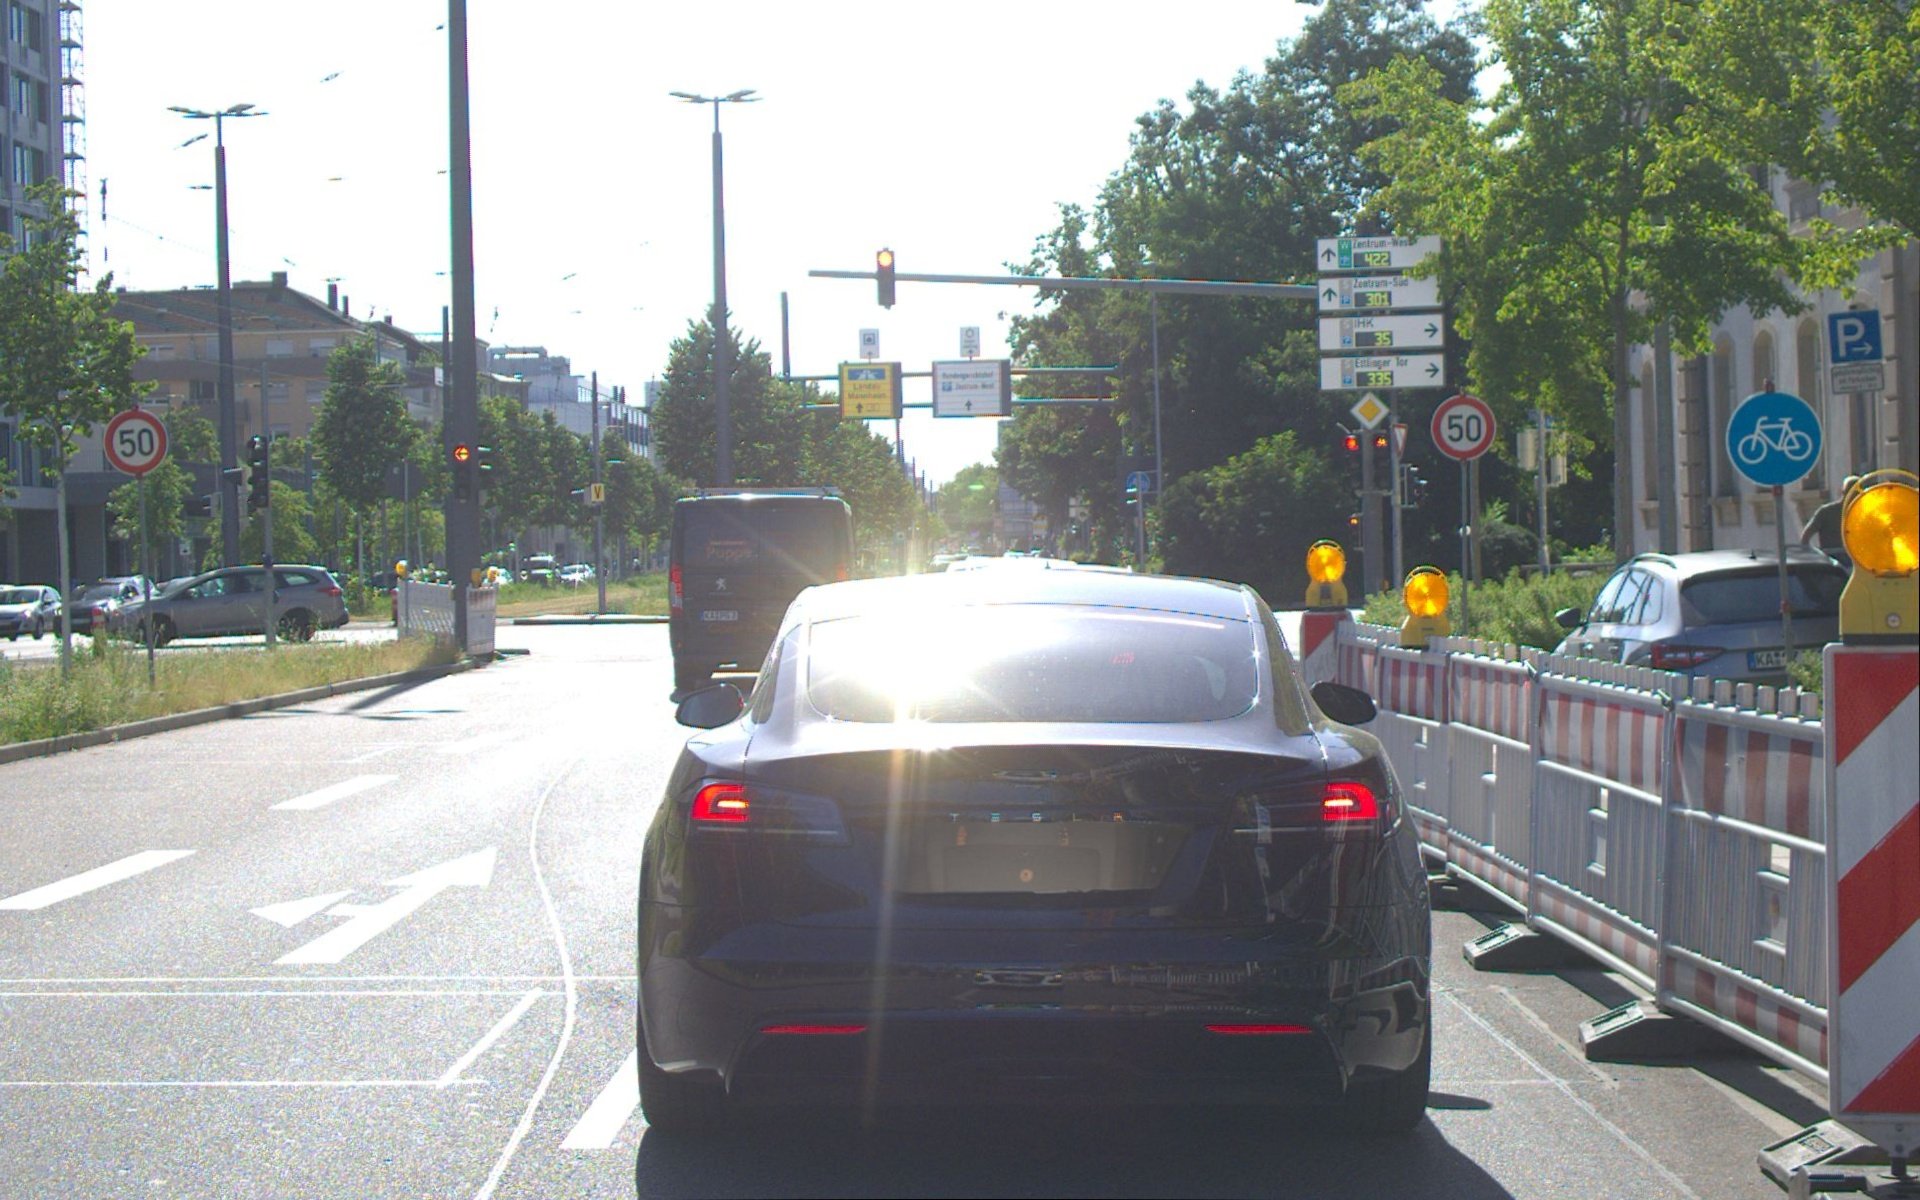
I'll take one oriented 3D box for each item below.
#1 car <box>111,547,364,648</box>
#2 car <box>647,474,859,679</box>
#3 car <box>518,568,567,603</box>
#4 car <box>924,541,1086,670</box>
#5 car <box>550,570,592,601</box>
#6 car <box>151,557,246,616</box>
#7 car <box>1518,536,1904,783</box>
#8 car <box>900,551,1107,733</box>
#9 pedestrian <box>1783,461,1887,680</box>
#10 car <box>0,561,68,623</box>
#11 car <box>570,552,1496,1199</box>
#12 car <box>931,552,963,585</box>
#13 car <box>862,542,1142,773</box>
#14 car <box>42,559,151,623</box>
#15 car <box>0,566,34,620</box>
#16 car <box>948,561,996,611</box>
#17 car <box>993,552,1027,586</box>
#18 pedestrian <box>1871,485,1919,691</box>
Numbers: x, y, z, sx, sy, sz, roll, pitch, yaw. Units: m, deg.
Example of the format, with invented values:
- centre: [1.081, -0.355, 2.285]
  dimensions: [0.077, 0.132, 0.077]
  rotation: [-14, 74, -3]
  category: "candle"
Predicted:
- centre: [-13.790, -0.066, 65.570]
  dimensions: [4.511, 1.786, 2.001]
  rotation: [-2, 1, -17]
  category: "car"
- centre: [-2.345, -0.313, 40.142]
  dimensions: [2.218, 2.259, 4.484]
  rotation: [0, 1, 0]
  category: "car"
- centre: [-20.599, -0.721, 169.706]
  dimensions: [1.808, 1.645, 4.000]
  rotation: [-1, 1, 1]
  category: "car"
- centre: [0.479, 0.047, 39.956]
  dimensions: [1.792, 1.423, 3.850]
  rotation: [0, 1, -1]
  category: "car"
- centre: [-21.629, -0.836, 191.215]
  dimensions: [1.790, 1.645, 4.000]
  rotation: [-1, 1, 1]
  category: "car"
- centre: [-22.292, -0.418, 100.754]
  dimensions: [1.790, 1.645, 4.000]
  rotation: [-1, 1, 1]
  category: "car"
- centre: [5.165, 0.335, 24.252]
  dimensions: [1.647, 1.470, 4.701]
  rotation: [-4, 1, 1]
  category: "car"
- centre: [0.419, 0.328, 31.069]
  dimensions: [1.750, 1.522, 4.005]
  rotation: [0, 1, 2]
  category: "car"
- centre: [7.851, -0.267, 30.865]
  dimensions: [0.658, 1.906, 0.587]
  rotation: [-4, 1, 1]
  category: "pedestrian"
- centre: [-26.087, -0.219, 94.834]
  dimensions: [1.790, 1.645, 4.000]
  rotation: [-1, 1, 1]
  category: "car"
- centre: [0.181, 0.601, 9.908]
  dimensions: [2.051, 1.439, 4.524]
  rotation: [0, 1, 1]
  category: "car"
- centre: [-0.771, -1.817, 196.660]
  dimensions: [1.792, 1.867, 3.850]
  rotation: [0, 1, -1]
  category: "car"
- centre: [0.286, 0.319, 23.983]
  dimensions: [1.747, 1.422, 4.838]
  rotation: [0, 1, 1]
  category: "car"
- centre: [-23.190, -0.261, 92.412]
  dimensions: [1.790, 1.645, 4.000]
  rotation: [-1, 1, 1]
  category: "car"
- centre: [-30.806, -0.212, 108.787]
  dimensions: [1.790, 1.645, 4.000]
  rotation: [-1, 1, 1]
  category: "car"
- centre: [0.452, -0.555, 131.900]
  dimensions: [1.792, 1.867, 3.850]
  rotation: [0, 1, -1]
  category: "car"
- centre: [2.791, -1.738, 192.507]
  dimensions: [1.792, 1.867, 3.850]
  rotation: [0, 1, -1]
  category: "car"
- centre: [8.598, -0.117, 30.873]
  dimensions: [0.563, 1.814, 0.587]
  rotation: [-4, 1, 1]
  category: "pedestrian"
